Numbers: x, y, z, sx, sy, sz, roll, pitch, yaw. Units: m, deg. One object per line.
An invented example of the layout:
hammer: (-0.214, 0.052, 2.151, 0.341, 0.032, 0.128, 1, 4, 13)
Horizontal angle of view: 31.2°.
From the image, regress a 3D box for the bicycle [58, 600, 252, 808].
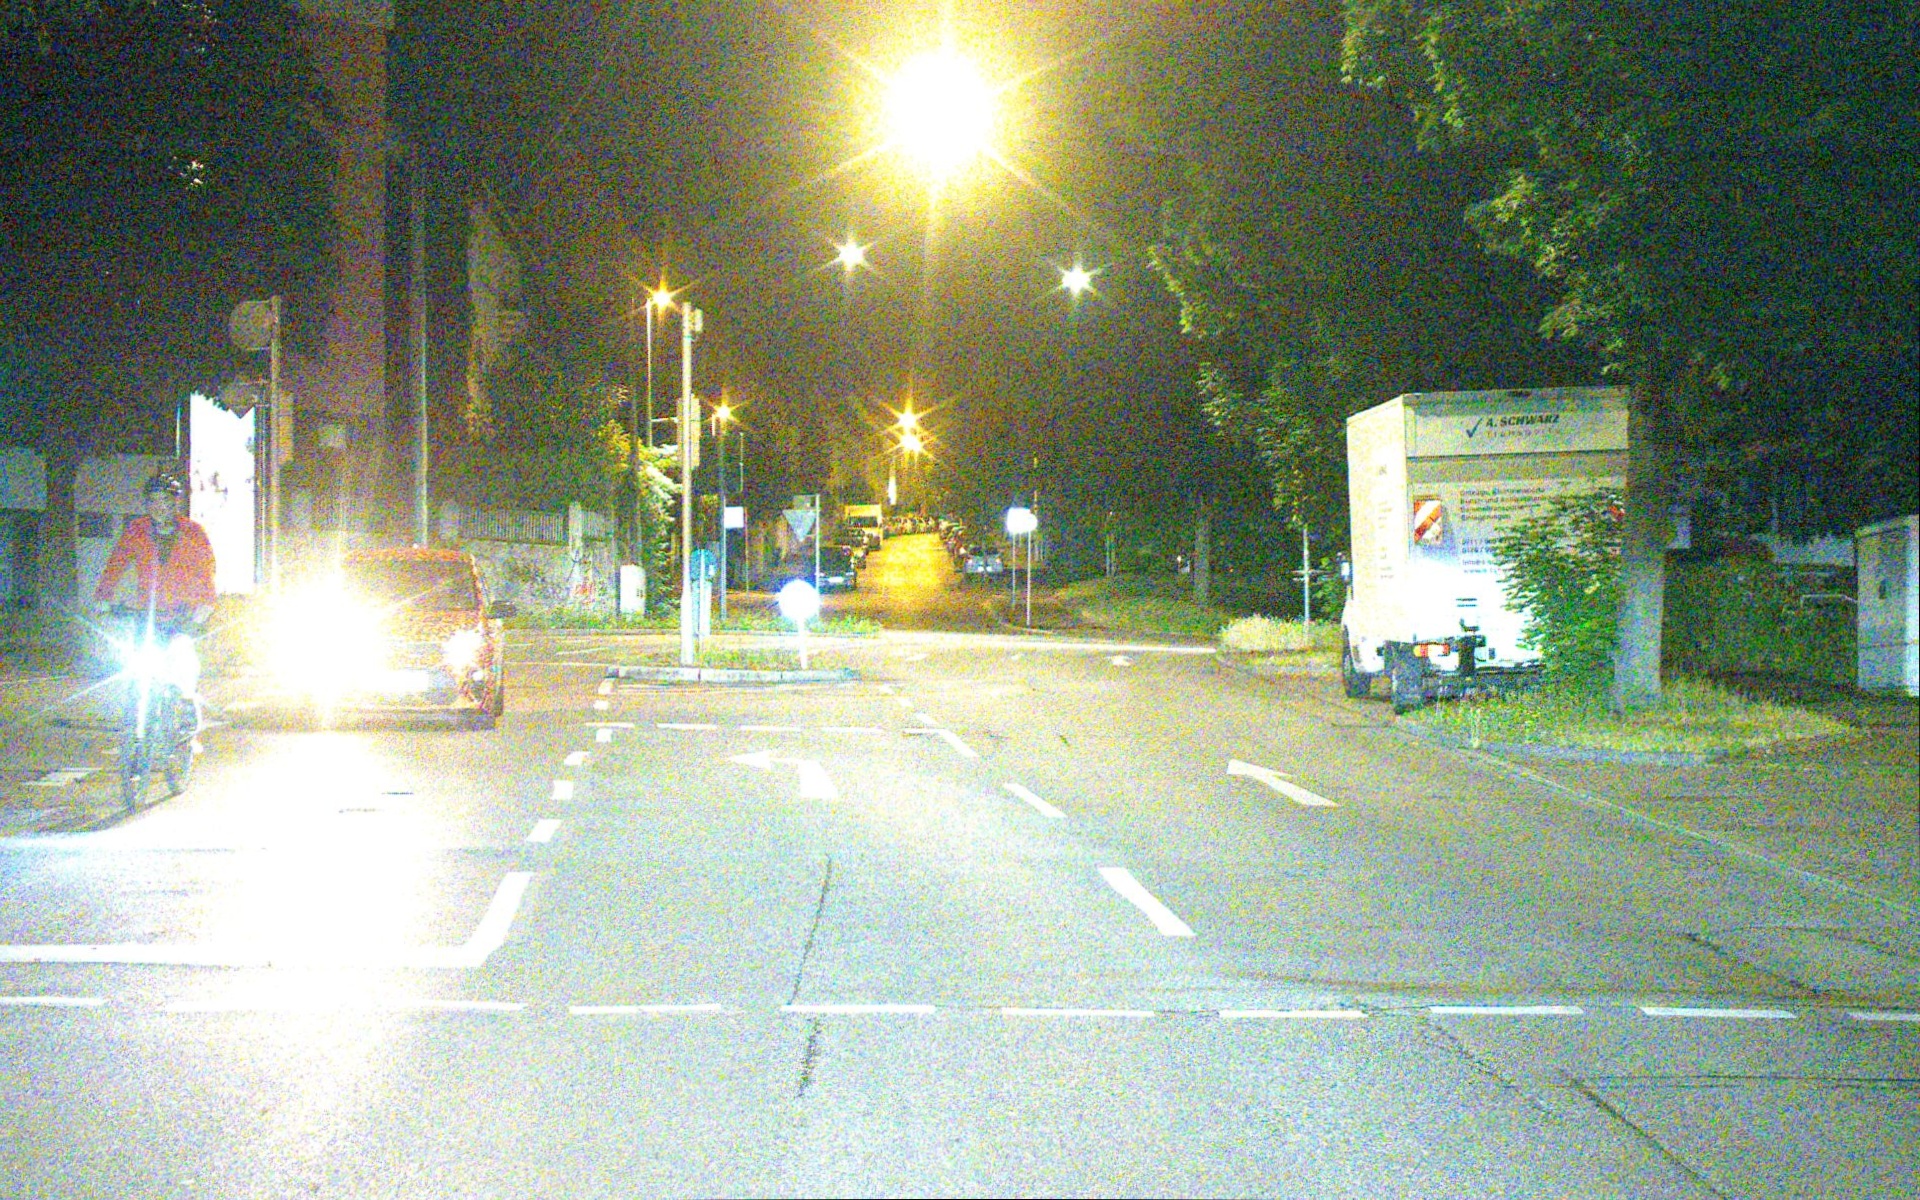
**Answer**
bicycle: (-4.703, 0.581, 20.199, 0.696, 1.145, 1.951, 1, 0, -1)

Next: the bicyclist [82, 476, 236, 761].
bicyclist: (-4.699, 0.103, 20.217, 0.690, 1.631, 0.896, 1, 0, -1)

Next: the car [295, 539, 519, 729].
car: (-4.632, 0.242, 29.134, 1.581, 1.496, 3.396, 1, 1, -4)

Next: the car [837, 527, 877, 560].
car: (-4.809, -2.620, 160.553, 1.815, 1.486, 4.000, 1, 1, -2)

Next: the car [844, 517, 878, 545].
car: (-5.392, -3.742, 186.935, 1.815, 1.486, 4.000, 1, 1, -2)

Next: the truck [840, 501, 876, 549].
truck: (-6.239, -4.549, 209.565, 2.086, 2.838, 5.832, 1, 1, -2)

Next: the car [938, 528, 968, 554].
car: (-0.394, -3.286, 191.468, 1.634, 1.447, 3.485, 1, 1, -1)

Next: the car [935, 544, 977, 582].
car: (-0.168, -1.480, 137.662, 1.593, 1.471, 3.654, 1, 1, -1)

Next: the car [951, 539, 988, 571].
car: (0.434, -2.090, 159.265, 1.634, 1.447, 3.485, 1, 1, -1)

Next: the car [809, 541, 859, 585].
car: (-4.913, -1.464, 134.433, 1.815, 1.678, 4.000, 1, 1, -1)

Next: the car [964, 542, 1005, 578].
car: (1.012, -1.680, 143.347, 1.634, 1.447, 3.485, 1, 1, -1)

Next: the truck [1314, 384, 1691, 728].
truck: (5.287, -0.449, 34.589, 2.749, 3.100, 6.258, 1, 1, 0)

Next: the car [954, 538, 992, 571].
car: (0.571, -2.038, 153.080, 1.634, 1.447, 3.485, 1, 1, -1)
